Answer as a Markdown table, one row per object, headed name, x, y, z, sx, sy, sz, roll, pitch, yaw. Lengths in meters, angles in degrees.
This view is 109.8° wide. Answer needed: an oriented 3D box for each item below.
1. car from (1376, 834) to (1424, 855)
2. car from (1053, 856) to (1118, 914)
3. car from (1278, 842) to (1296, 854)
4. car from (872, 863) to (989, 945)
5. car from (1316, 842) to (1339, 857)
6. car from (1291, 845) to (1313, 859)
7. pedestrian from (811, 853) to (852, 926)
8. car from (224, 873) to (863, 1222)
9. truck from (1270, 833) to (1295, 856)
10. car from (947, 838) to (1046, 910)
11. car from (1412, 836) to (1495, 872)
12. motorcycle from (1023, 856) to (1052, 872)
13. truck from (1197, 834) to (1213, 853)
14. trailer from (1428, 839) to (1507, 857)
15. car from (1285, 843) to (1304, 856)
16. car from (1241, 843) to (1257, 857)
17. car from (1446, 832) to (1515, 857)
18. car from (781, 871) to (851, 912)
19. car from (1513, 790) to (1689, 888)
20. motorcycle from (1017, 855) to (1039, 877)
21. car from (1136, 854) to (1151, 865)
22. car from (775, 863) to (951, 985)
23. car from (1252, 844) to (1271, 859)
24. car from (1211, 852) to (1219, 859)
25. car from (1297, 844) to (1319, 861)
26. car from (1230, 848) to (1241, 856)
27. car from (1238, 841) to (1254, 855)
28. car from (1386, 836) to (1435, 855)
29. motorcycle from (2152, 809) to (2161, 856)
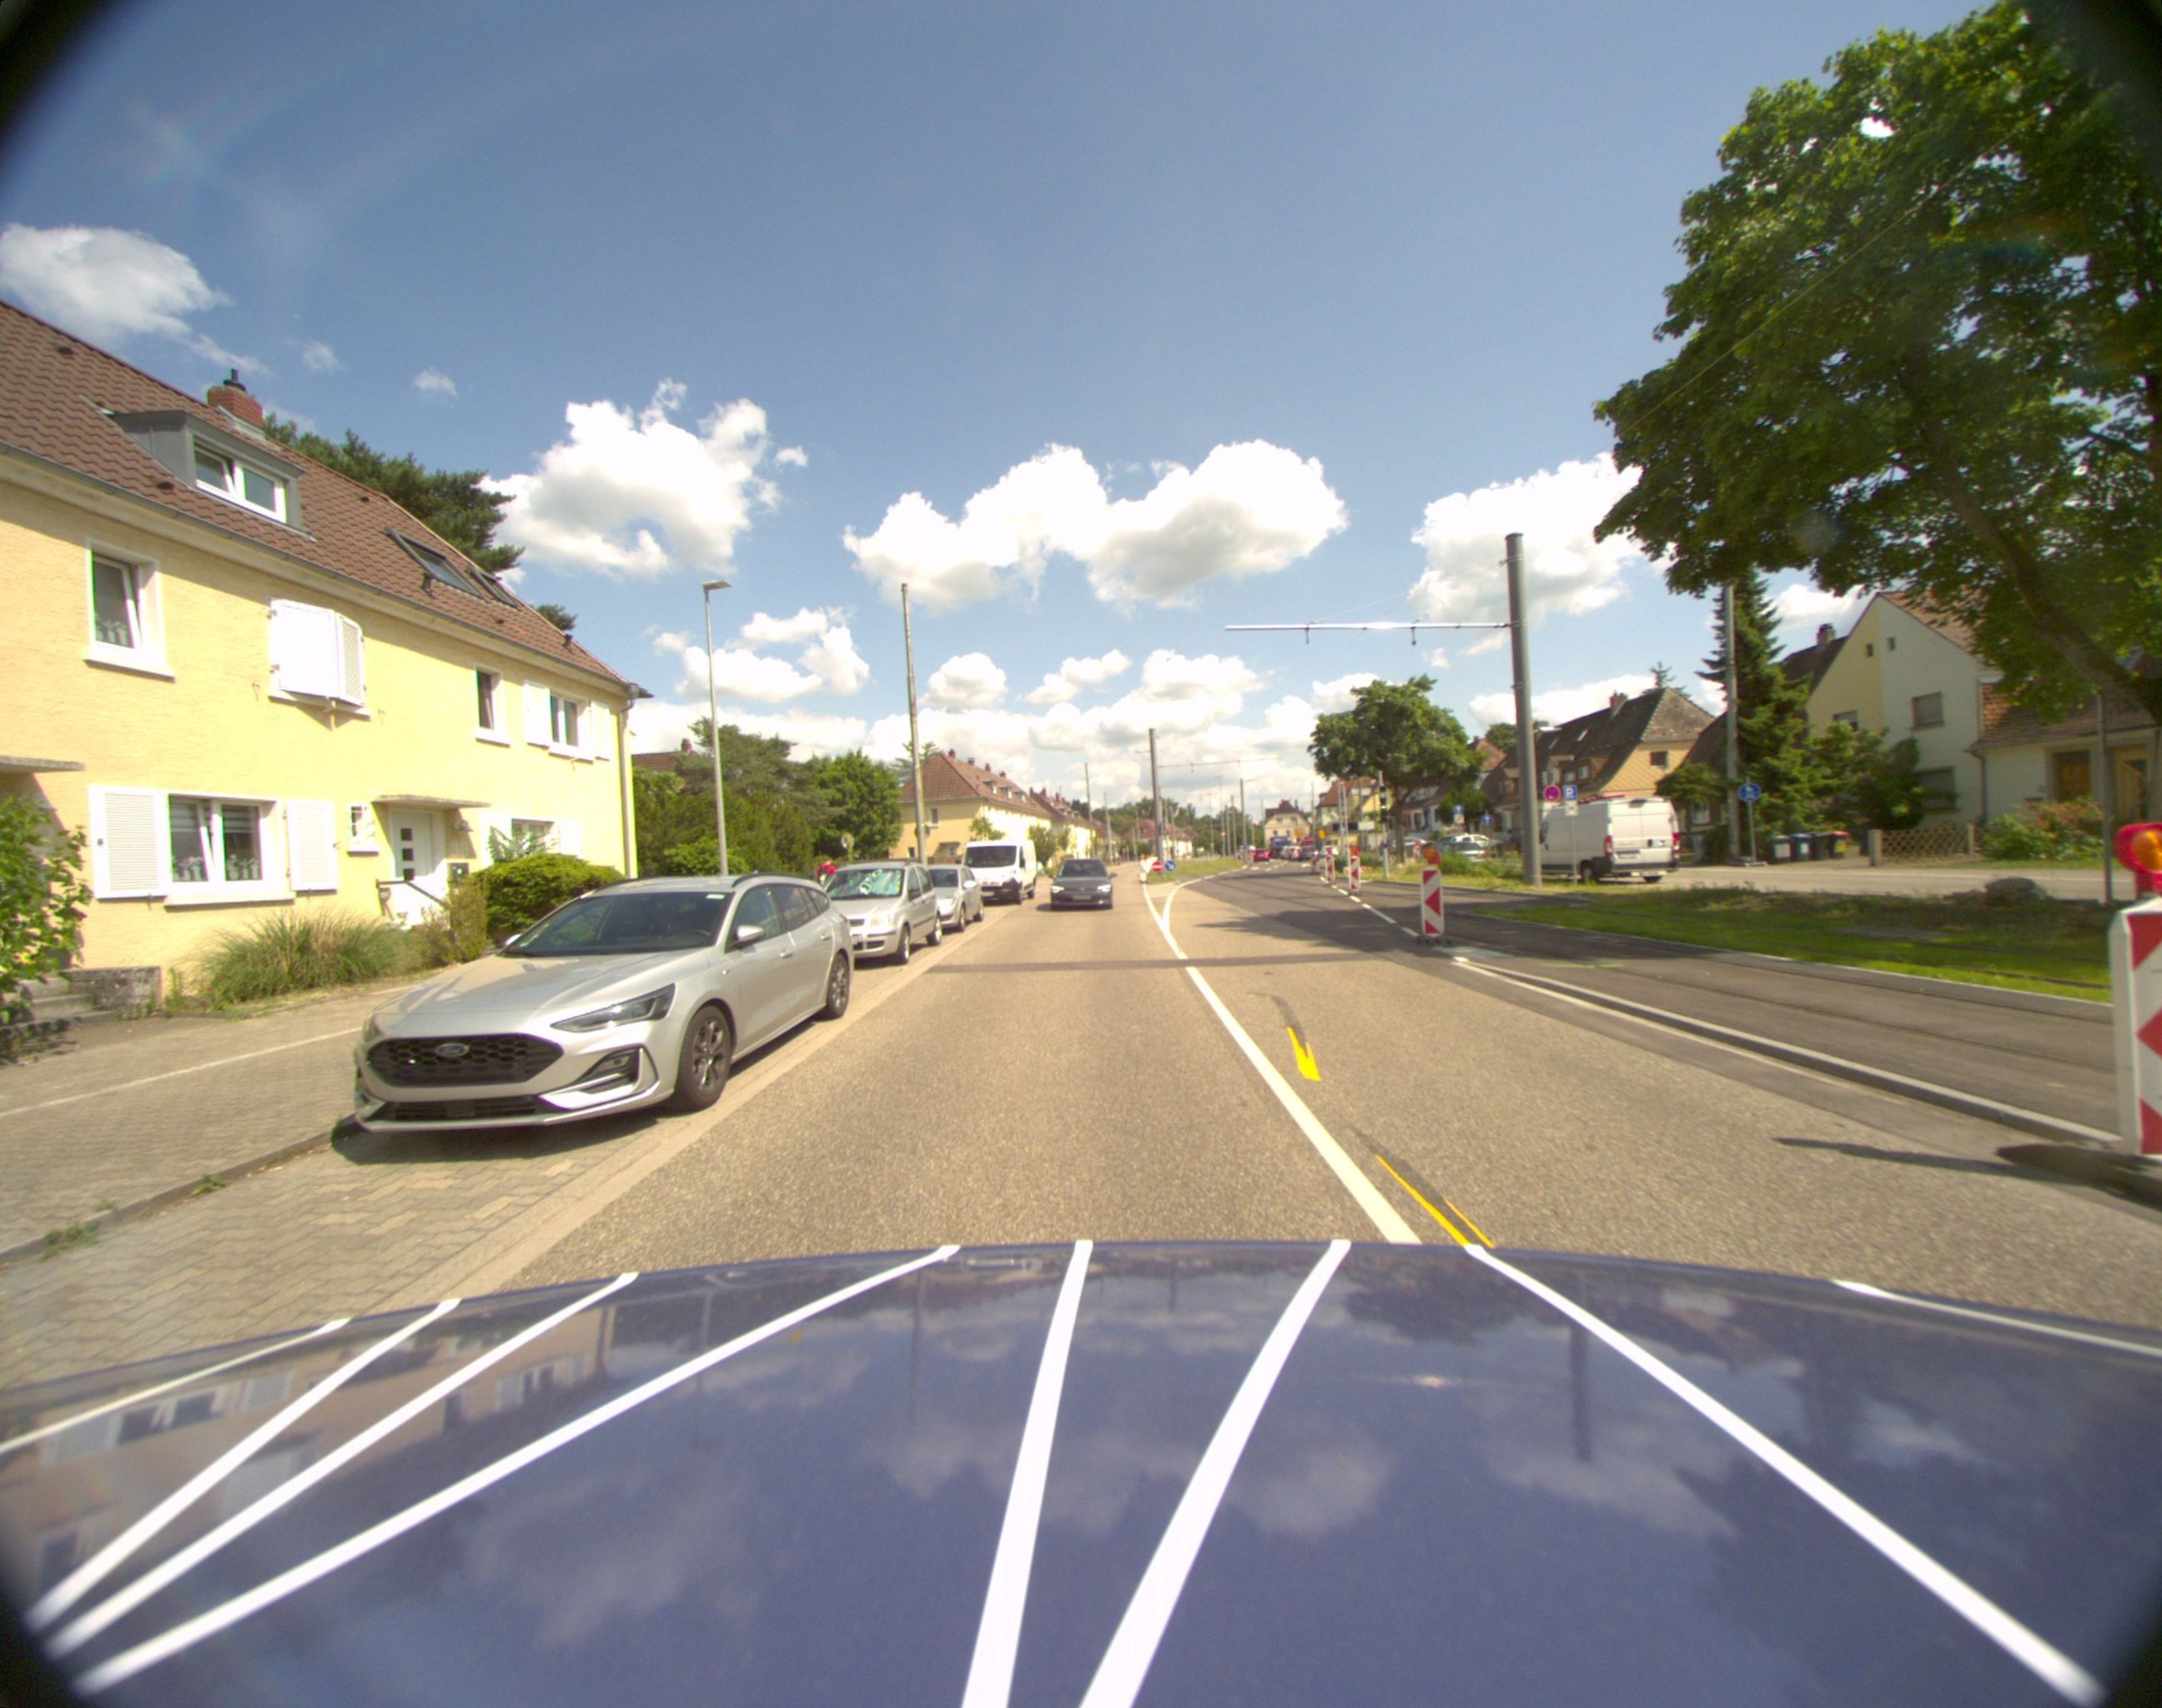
| name | x | y | z | sx | sy | sz | roll | pitch | yaw |
| --- | --- | --- | --- | --- | --- | --- | --- | --- | --- |
| car | 31.516 | -0.888 | 75.195 | 3.995 | 1.835 | 1.803 | -3 | 0 | 5 |
| car | 0.235 | 0.861 | 23.108 | 1.742 | 1.513 | 4.702 | -1 | 0 | 3 |
| car | 27.378 | -0.777 | 101.010 | 1.729 | 1.553 | 4.544 | -3 | 0 | 8 |
| car | -3.228 | 1.003 | 17.111 | 1.712 | 1.495 | 4.255 | -3 | 0 | 0 |
| car | 28.513 | -0.554 | 88.077 | 1.728 | 1.553 | 4.544 | -3 | 0 | 9 |
| car | 23.539 | -0.204 | 81.073 | 1.728 | 1.327 | 4.545 | -3 | 0 | 11 |
| pedestrian | -7.117 | 0.999 | 21.705 | 0.774 | 2.002 | 0.761 | -3 | 1 | 2 |
| car | -3.224 | 0.994 | 5.873 | 1.754 | 1.489 | 4.385 | -2 | 1 | 0 |
| truck | 28.799 | -1.358 | 108.868 | 2.840 | 3.135 | 7.940 | -3 | 0 | 11 |
| car | -2.805 | 0.618 | 27.034 | 2.281 | 2.170 | 6.369 | -2 | 0 | 4 |
| car | 16.890 | -0.006 | 34.706 | 1.696 | 1.456 | 4.756 | -3 | 0 | 4 |
| motorcycle | -3.706 | 0.847 | 64.706 | 2.232 | 1.190 | 0.855 | -3 | 0 | 9 |
| truck | 35.522 | -3.045 | 217.001 | 3.473 | 5.153 | 14.230 | -3 | 0 | 13 |
| trailer | 29.303 | -0.446 | 57.652 | 4.931 | 1.118 | 1.961 | -3 | 0 | 5 |
| car | 24.679 | -0.523 | 87.973 | 1.728 | 1.327 | 4.545 | -3 | 0 | 11 |
| car | 23.564 | -0.615 | 106.655 | 1.729 | 1.843 | 4.544 | -3 | 0 | 8 |
| car | 28.938 | -0.673 | 55.114 | 3.960 | 1.535 | 1.761 | -3 | 0 | 0 |
| car | -12.015 | 1.650 | 34.681 | 1.632 | 1.538 | 3.809 | -3 | 1 | 2 |
| car | 15.982 | -0.430 | 23.767 | 2.158 | 2.653 | 4.916 | -3 | 0 | 2 |
| motorcycle | -3.676 | 0.821 | 53.094 | 1.049 | 1.462 | 2.586 | 0 | 1 | 7 |
| car | 9.172 | 0.792 | 111.042 | 1.878 | 1.543 | 4.987 | -3 | 0 | 7 |
| car | -3.310 | 0.987 | 12.327 | 1.632 | 1.541 | 3.809 | -2 | 0 | 1 |
| car | 20.386 | -0.331 | 85.842 | 1.728 | 1.553 | 4.544 | -3 | 0 | 9 |
| car | 41.132 | 0.311 | 233.444 | 2.058 | 1.996 | 4.953 | -3 | 0 | 12 |
| car | 22.109 | -0.141 | 74.094 | 1.728 | 1.518 | 4.775 | -3 | 0 | 14 |
| car | 41.515 | -0.585 | 203.920 | 2.282 | 1.861 | 4.990 | -3 | 0 | 16 |
| car | 24.771 | -0.929 | 114.325 | 1.921 | 1.953 | 4.544 | -3 | 0 | 8 |
| car | 31.271 | -0.781 | 72.254 | 3.886 | 1.546 | 1.682 | -3 | 0 | 5 |
| motorcycle | 27.273 | -0.543 | 18.266 | 0.497 | 1.163 | 1.793 | -3 | 0 | -1 |
